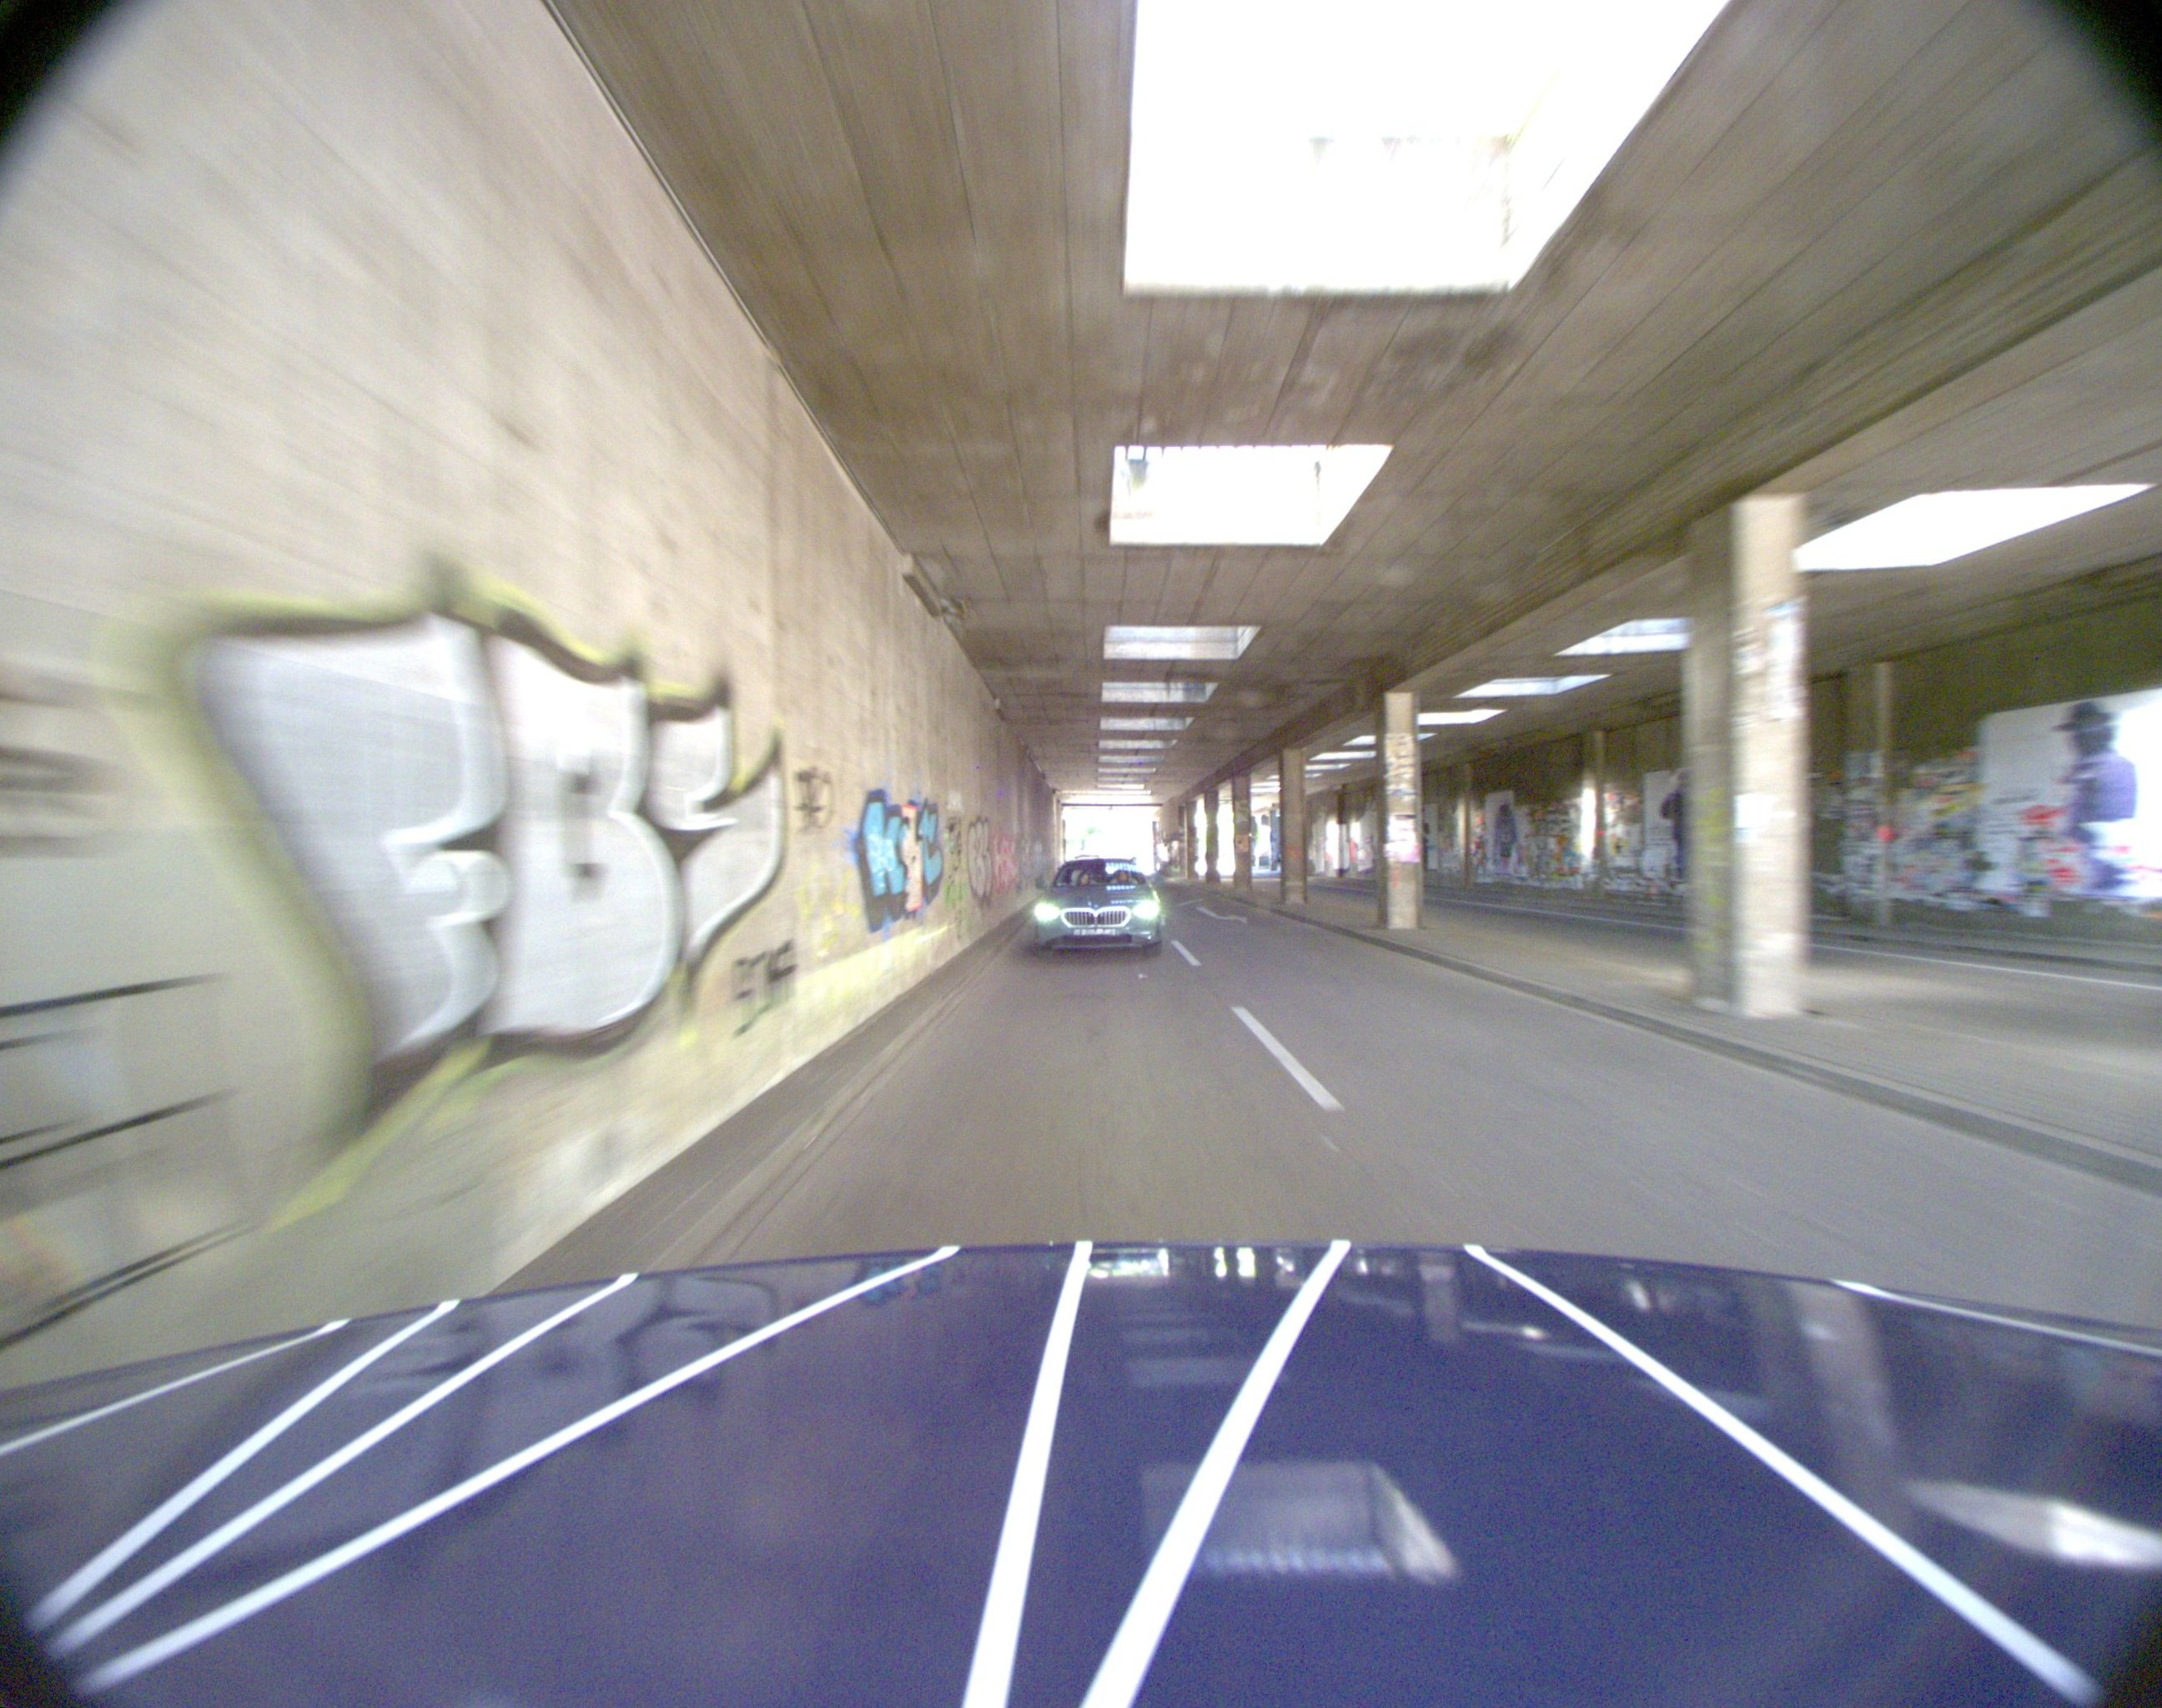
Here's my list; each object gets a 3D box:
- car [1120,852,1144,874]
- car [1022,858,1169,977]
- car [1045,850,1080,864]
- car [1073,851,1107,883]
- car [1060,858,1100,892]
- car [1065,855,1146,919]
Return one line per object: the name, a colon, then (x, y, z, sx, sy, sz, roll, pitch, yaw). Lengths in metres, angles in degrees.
car: (3.717, 0.616, 55.802, 1.616, 1.546, 4.013, -1, 0, 2)
car: (0.289, 0.868, 12.709, 1.957, 1.546, 5.041, -1, 0, 2)
car: (-2.117, 0.352, 88.075, 3.998, 1.386, 1.833, -2, 1, -2)
car: (0.511, 0.627, 39.702, 1.616, 1.546, 4.013, -1, 0, 2)
car: (0.017, 0.871, 33.584, 1.616, 1.367, 4.200, -1, 0, 2)
car: (0.679, 0.814, 20.753, 1.957, 1.546, 4.248, -1, 0, 2)
